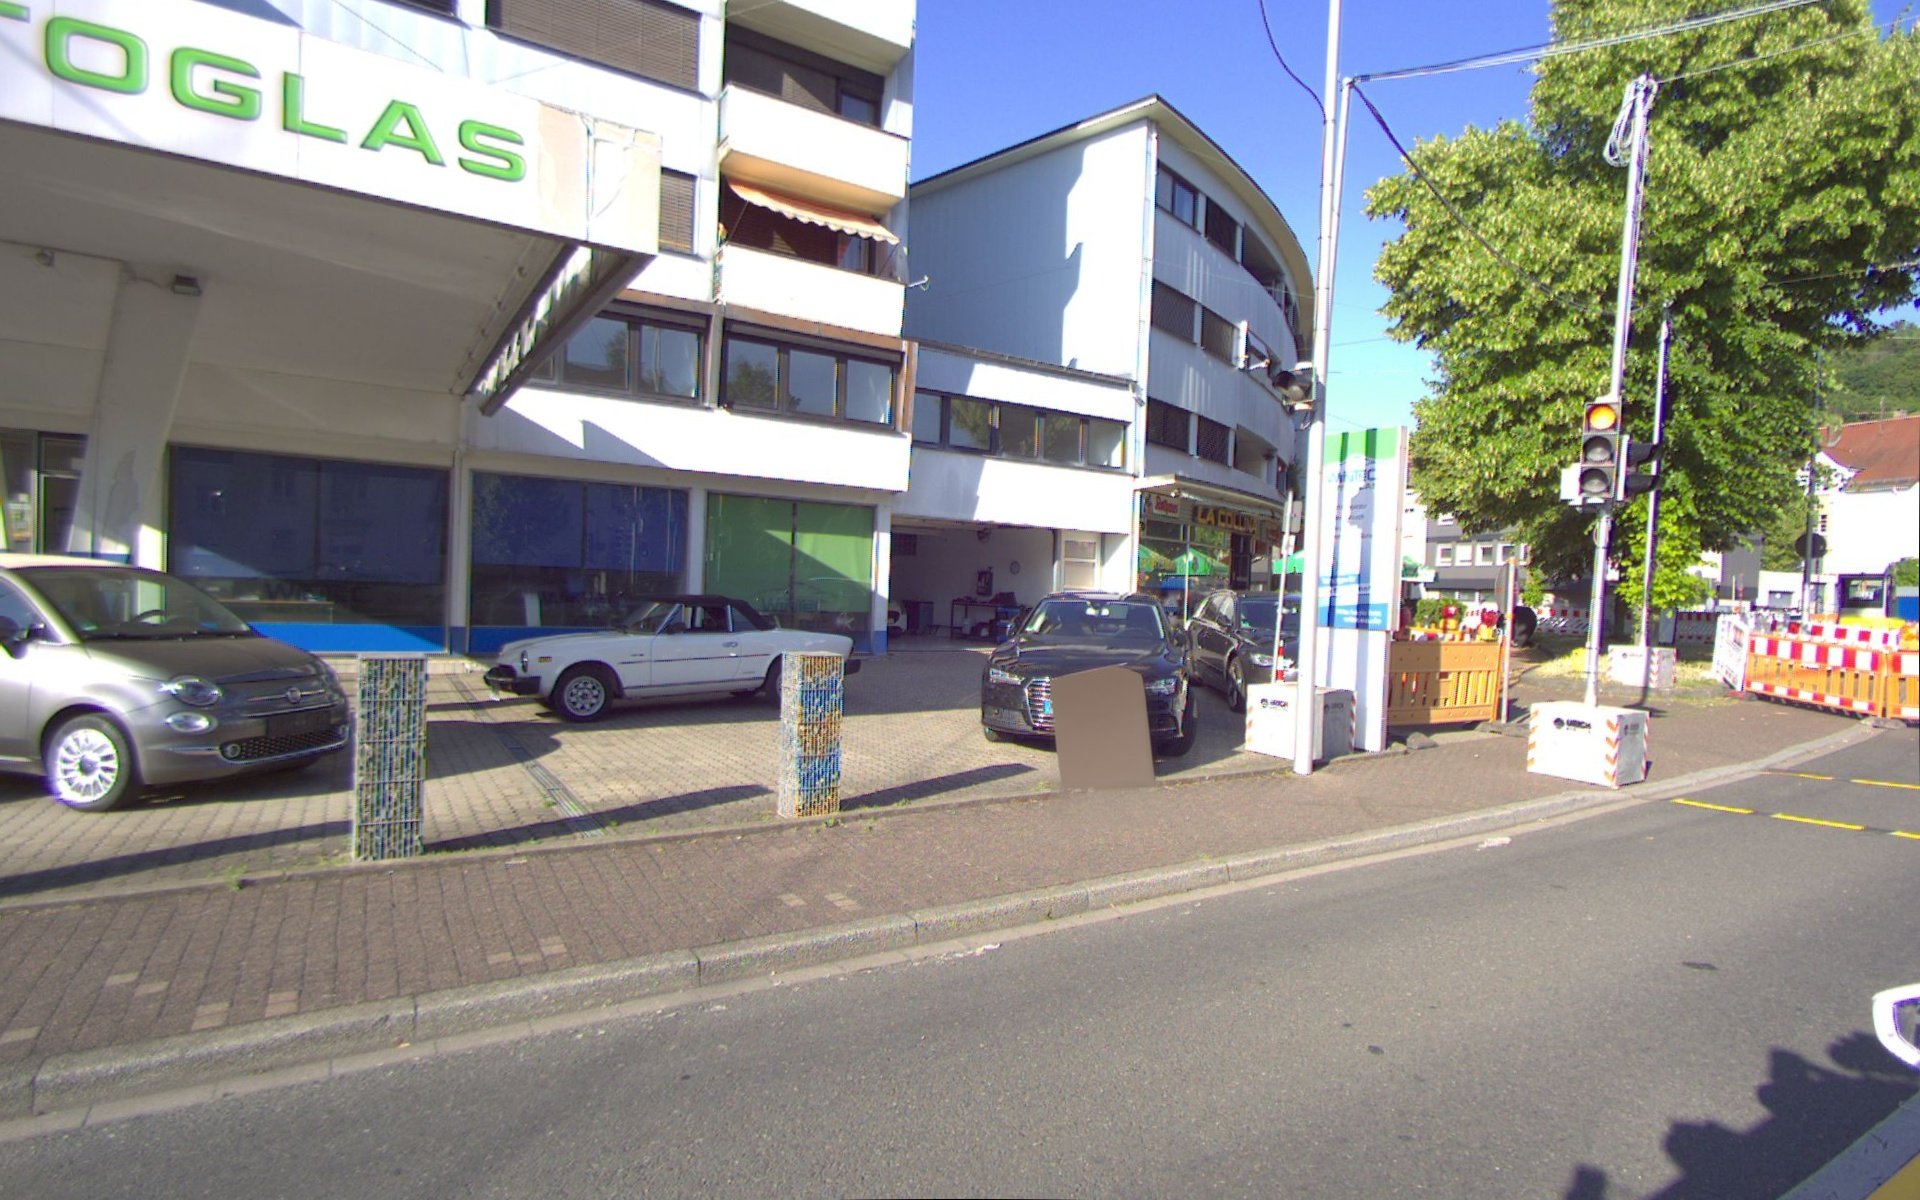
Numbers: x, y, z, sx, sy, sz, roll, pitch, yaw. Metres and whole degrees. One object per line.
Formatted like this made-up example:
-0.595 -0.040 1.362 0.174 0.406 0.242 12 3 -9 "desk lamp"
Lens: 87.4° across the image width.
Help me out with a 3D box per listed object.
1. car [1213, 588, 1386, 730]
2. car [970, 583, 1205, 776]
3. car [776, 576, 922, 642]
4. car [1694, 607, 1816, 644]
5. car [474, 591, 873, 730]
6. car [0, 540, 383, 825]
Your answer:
4.326 0.629 13.389 1.617 1.474 4.301 2 2 12 "car"
1.459 0.602 10.378 1.872 1.474 4.315 2 2 12 "car"
-2.850 0.177 25.107 1.980 1.486 3.961 1 1 -35 "car"
34.596 1.078 43.829 1.768 1.428 3.993 2 0 -10 "car"
-3.154 0.573 11.417 4.098 1.301 1.576 0 1 -35 "car"
-5.971 0.419 6.730 3.325 1.589 1.623 2 1 8 "car"
